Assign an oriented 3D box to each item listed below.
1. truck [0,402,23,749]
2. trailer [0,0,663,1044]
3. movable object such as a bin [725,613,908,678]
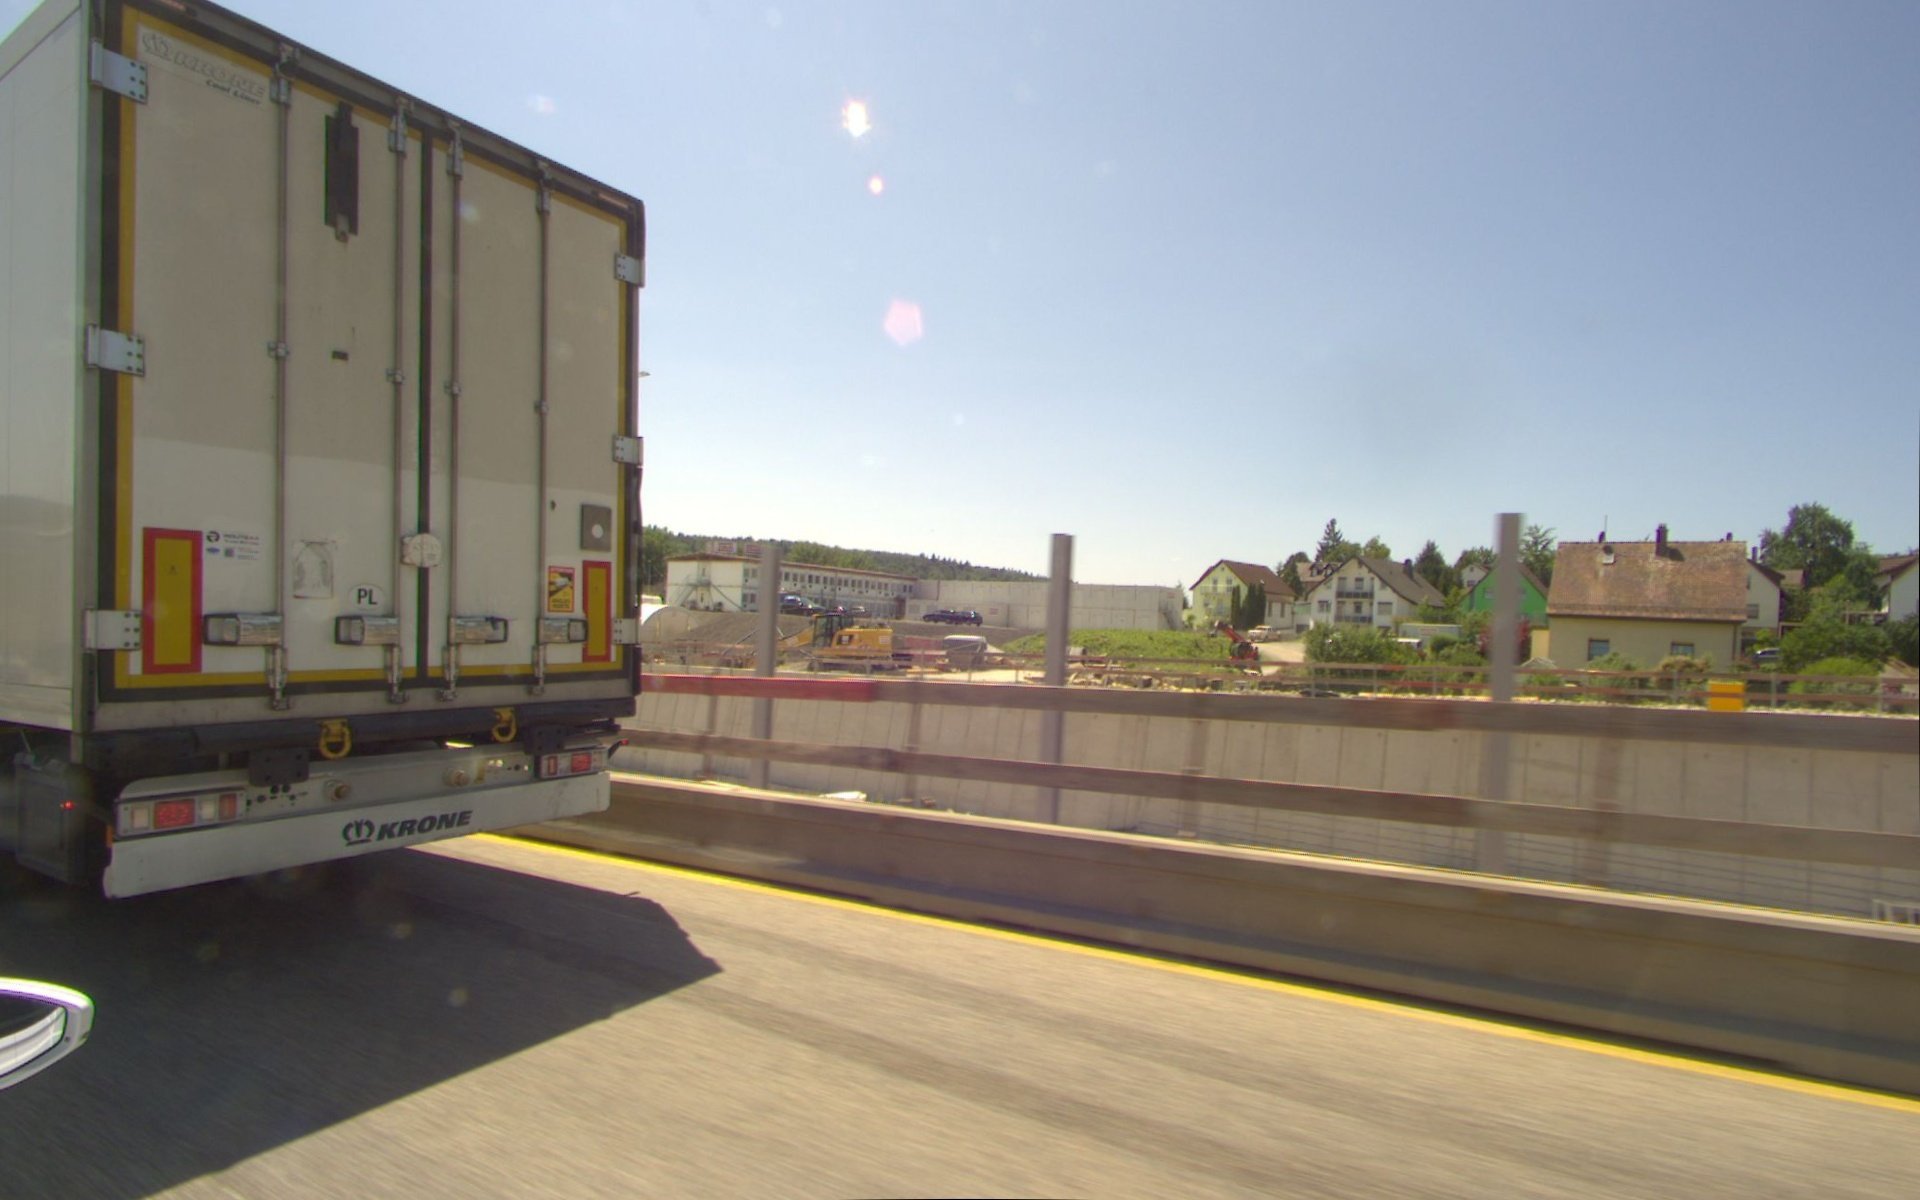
[{"bbox_3d":[-14.013,-0.294,12.121,4.835,4.110,2.772,-1,-1,33],"label":"truck"},{"bbox_3d":[-8.352,-0.367,8.515,13.917,4.110,2.796,-1,-1,33],"label":"trailer"},{"bbox_3d":[-7.148,2.157,49.086,9.345,2.946,2.882,0,-2,33],"label":"movable object such as a bin"}]
